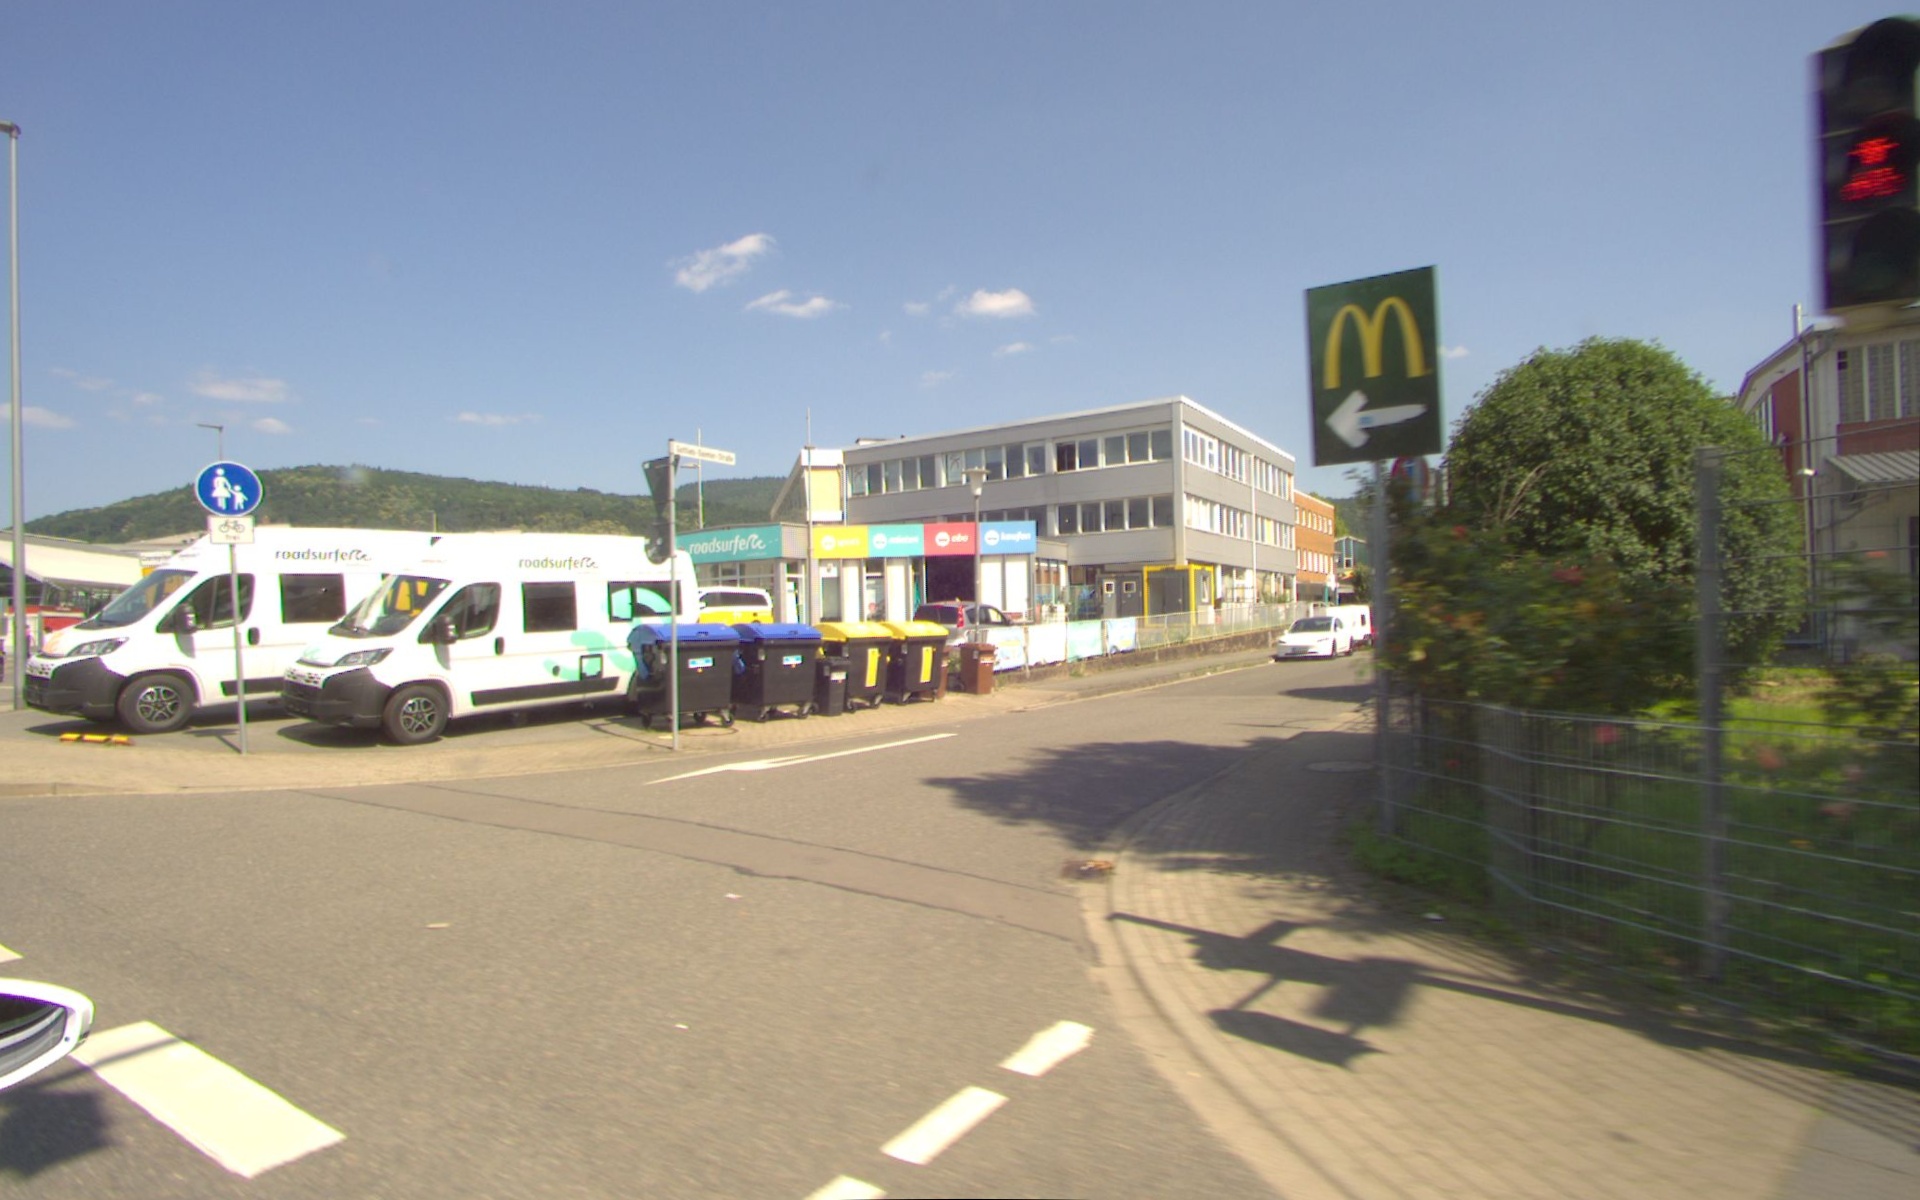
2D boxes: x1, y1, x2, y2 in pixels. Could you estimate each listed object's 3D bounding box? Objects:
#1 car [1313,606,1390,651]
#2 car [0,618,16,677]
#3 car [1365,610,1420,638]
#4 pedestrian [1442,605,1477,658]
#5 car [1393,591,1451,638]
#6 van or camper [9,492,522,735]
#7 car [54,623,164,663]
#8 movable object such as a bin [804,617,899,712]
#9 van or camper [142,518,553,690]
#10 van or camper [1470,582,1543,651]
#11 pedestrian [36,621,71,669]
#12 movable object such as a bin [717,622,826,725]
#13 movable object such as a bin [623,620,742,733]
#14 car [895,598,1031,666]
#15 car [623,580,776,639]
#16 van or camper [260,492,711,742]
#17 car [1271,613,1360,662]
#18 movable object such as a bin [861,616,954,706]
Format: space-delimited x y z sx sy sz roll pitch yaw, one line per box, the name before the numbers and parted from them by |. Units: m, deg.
car | 16.188 1.173 41.299 1.974 1.761 4.272 -1 -1 35
car | -29.500 1.424 29.282 1.974 1.755 4.536 0 -1 -34
car | 22.956 1.278 53.067 1.869 1.400 3.975 -1 -2 35
pedestrian | 15.231 0.959 30.506 0.871 1.599 0.786 -1 -1 33
car | 26.910 0.873 58.224 2.083 2.559 5.572 -1 -1 35
van or camper | -9.646 0.175 14.575 2.062 2.810 5.795 0 0 34
car | -43.040 2.139 50.799 1.896 1.960 4.829 0 -1 -7
movable object such as a bin | -1.814 1.053 16.808 1.007 1.495 1.230 1 1 39
van or camper | -12.393 0.052 21.065 2.302 2.985 7.046 -1 0 32
van or camper | 23.451 0.721 42.846 2.313 2.714 6.708 -1 -1 32
pedestrian | -31.835 1.581 35.156 0.943 1.657 0.875 -1 -1 44
movable object such as a bin | -2.878 1.083 15.337 1.008 1.476 1.279 1 1 42
movable object such as a bin | -3.914 1.033 14.159 1.067 1.476 1.246 2 1 44
car | 0.167 0.761 25.203 1.788 1.535 3.880 2 0 28
car | -9.617 0.407 37.401 2.110 2.039 5.434 -1 -1 37
van or camper | -6.387 0.238 14.240 2.020 2.851 5.491 2 0 36
car | 12.240 1.271 34.375 1.869 1.572 3.975 -1 -1 35
movable object such as a bin | -0.950 1.071 18.238 1.051 1.552 1.324 1 1 39
